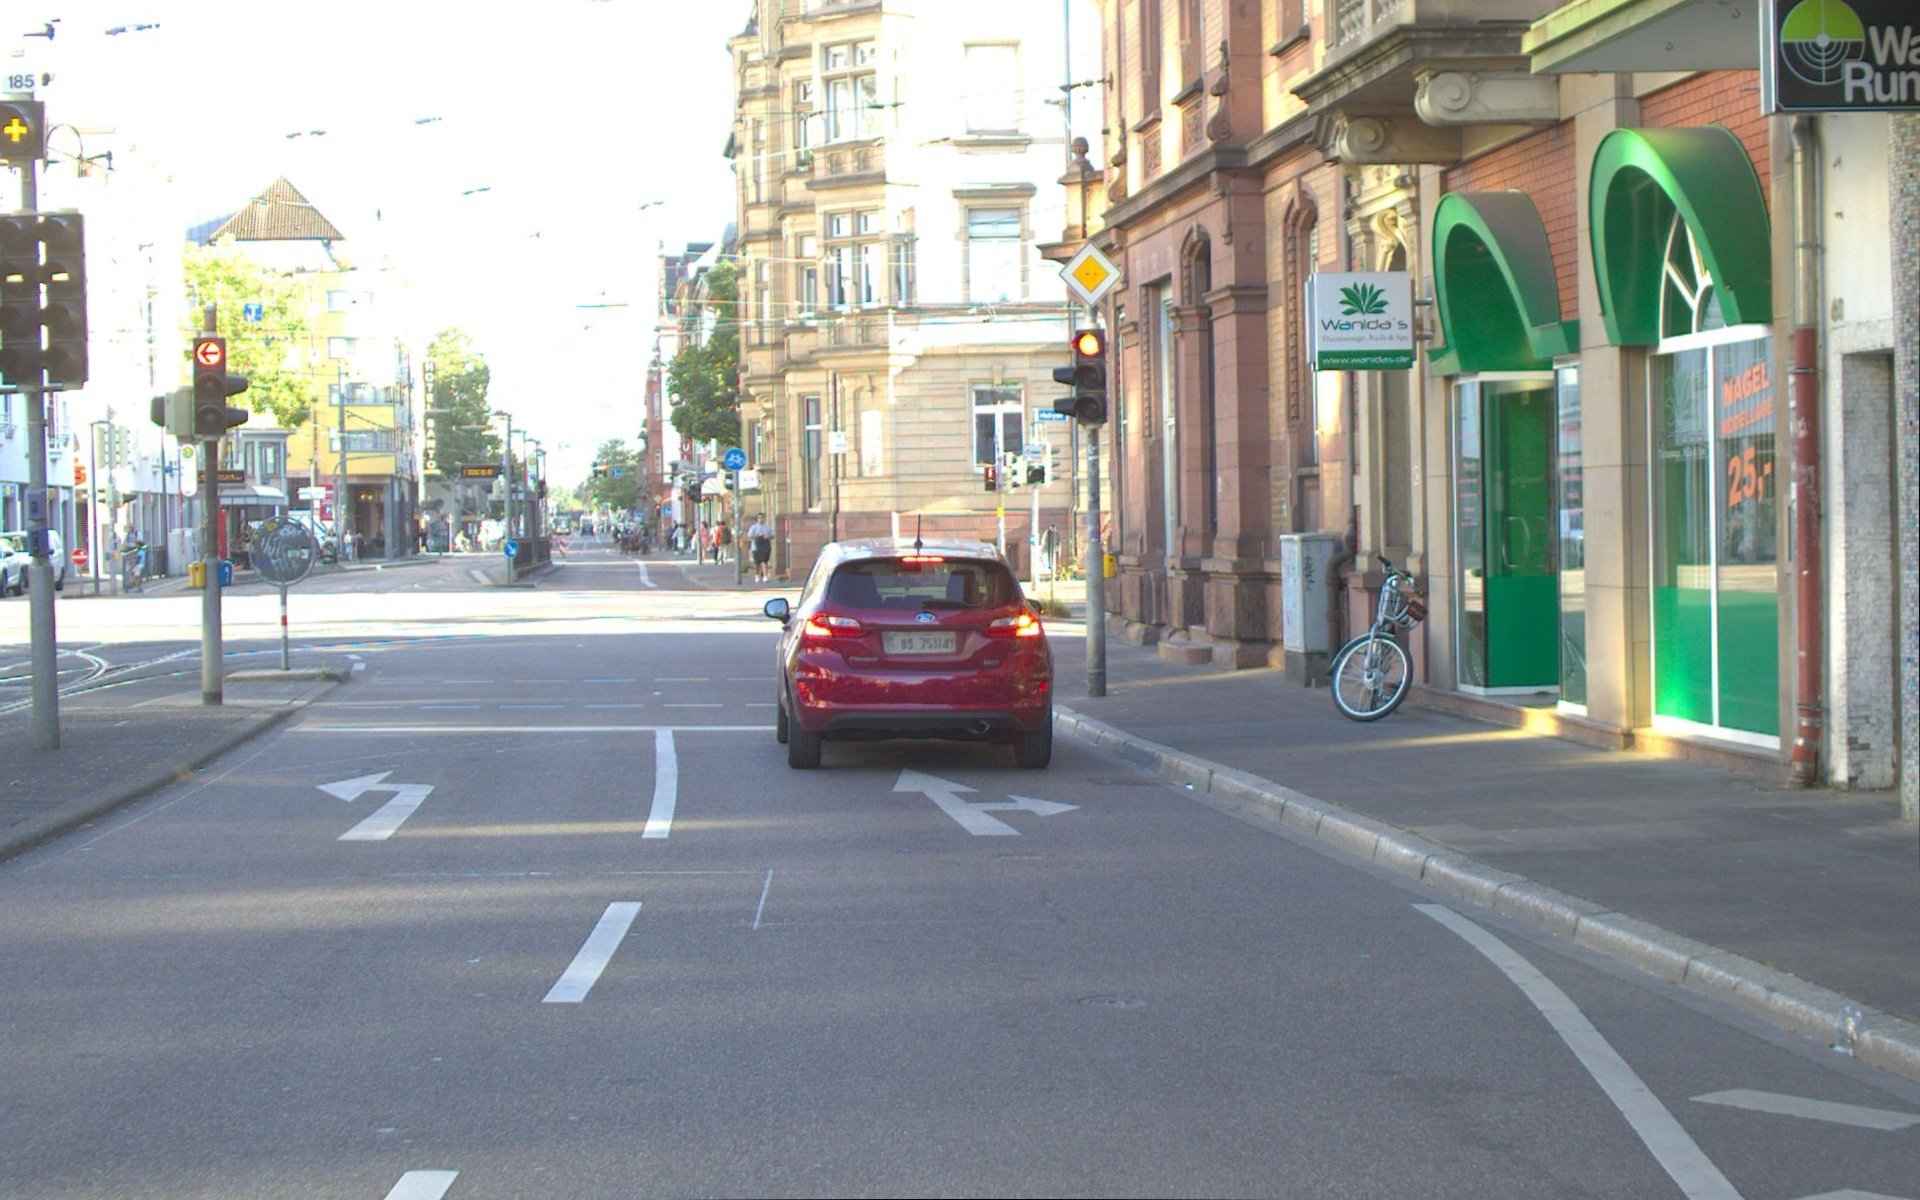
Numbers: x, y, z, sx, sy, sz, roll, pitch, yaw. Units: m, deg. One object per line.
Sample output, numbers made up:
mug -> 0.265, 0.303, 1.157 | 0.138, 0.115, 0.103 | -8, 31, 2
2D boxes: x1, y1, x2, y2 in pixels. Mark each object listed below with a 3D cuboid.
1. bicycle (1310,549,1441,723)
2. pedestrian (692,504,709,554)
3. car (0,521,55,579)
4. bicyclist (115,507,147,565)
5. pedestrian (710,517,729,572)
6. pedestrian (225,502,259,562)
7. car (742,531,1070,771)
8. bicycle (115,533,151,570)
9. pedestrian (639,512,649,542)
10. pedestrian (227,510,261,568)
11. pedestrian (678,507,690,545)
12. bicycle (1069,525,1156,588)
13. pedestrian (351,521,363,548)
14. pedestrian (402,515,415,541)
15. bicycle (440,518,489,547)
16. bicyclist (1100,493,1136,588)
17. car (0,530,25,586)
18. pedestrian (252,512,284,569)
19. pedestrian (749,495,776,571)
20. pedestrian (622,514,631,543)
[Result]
bicycle -> 3.000, 0.241, 24.700 | 0.716, 1.148, 1.654 | -2, 2, 13
pedestrian -> -10.551, -2.886, 139.743 | 0.577, 2.007, 0.631 | -1, 1, 1
car -> -28.342, -1.507, 103.287 | 1.701, 1.712, 3.565 | -1, 1, -6
bicyclist -> -26.113, -2.022, 108.323 | 0.807, 1.815, 0.994 | -1, 1, -5
pedestrian -> -8.826, -2.052, 126.339 | 0.646, 2.007, 0.683 | -1, 1, -6
pedestrian -> -24.412, -2.320, 116.869 | 0.956, 2.007, 1.049 | -1, 1, -5
car -> -0.453, 0.277, 23.117 | 1.753, 1.461, 3.946 | 0, 1, -7
bicycle -> -26.108, -1.544, 108.502 | 0.807, 1.143, 2.011 | -1, 1, -6
pedestrian -> -19.921, -4.582, 216.932 | 0.577, 1.880, 0.631 | -1, 1, -5
pedestrian -> -25.172, -2.154, 120.864 | 1.045, 2.007, 0.959 | -1, 1, -8
pedestrian -> -14.598, -3.910, 182.045 | 0.577, 2.007, 0.631 | -1, 1, -5
bicycle -> 2.719, -0.773, 61.244 | 1.482, 1.085, 0.528 | -1, 1, 11
pedestrian -> -32.827, -3.579, 187.094 | 0.524, 1.483, 0.583 | -1, 1, -3
pedestrian -> -34.122, -4.427, 212.651 | 0.628, 1.599, 0.579 | -1, 1, -22
bicycle -> -35.963, -4.906, 249.586 | 3.424, 2.007, 1.113 | -1, 1, -5
bicyclist -> 2.812, -1.067, 61.220 | 0.543, 1.670, 0.501 | -1, 1, 11
car -> -27.328, -1.164, 95.945 | 1.765, 1.540, 3.462 | -1, 1, -5
pedestrian -> -24.607, -2.107, 122.259 | 1.045, 2.007, 0.959 | -1, 1, -8
pedestrian -> -5.329, -1.801, 92.528 | 0.651, 2.007, 0.760 | -1, 1, -6
pedestrian -> -21.382, -4.595, 220.501 | 0.577, 1.880, 0.670 | -1, 1, -5
